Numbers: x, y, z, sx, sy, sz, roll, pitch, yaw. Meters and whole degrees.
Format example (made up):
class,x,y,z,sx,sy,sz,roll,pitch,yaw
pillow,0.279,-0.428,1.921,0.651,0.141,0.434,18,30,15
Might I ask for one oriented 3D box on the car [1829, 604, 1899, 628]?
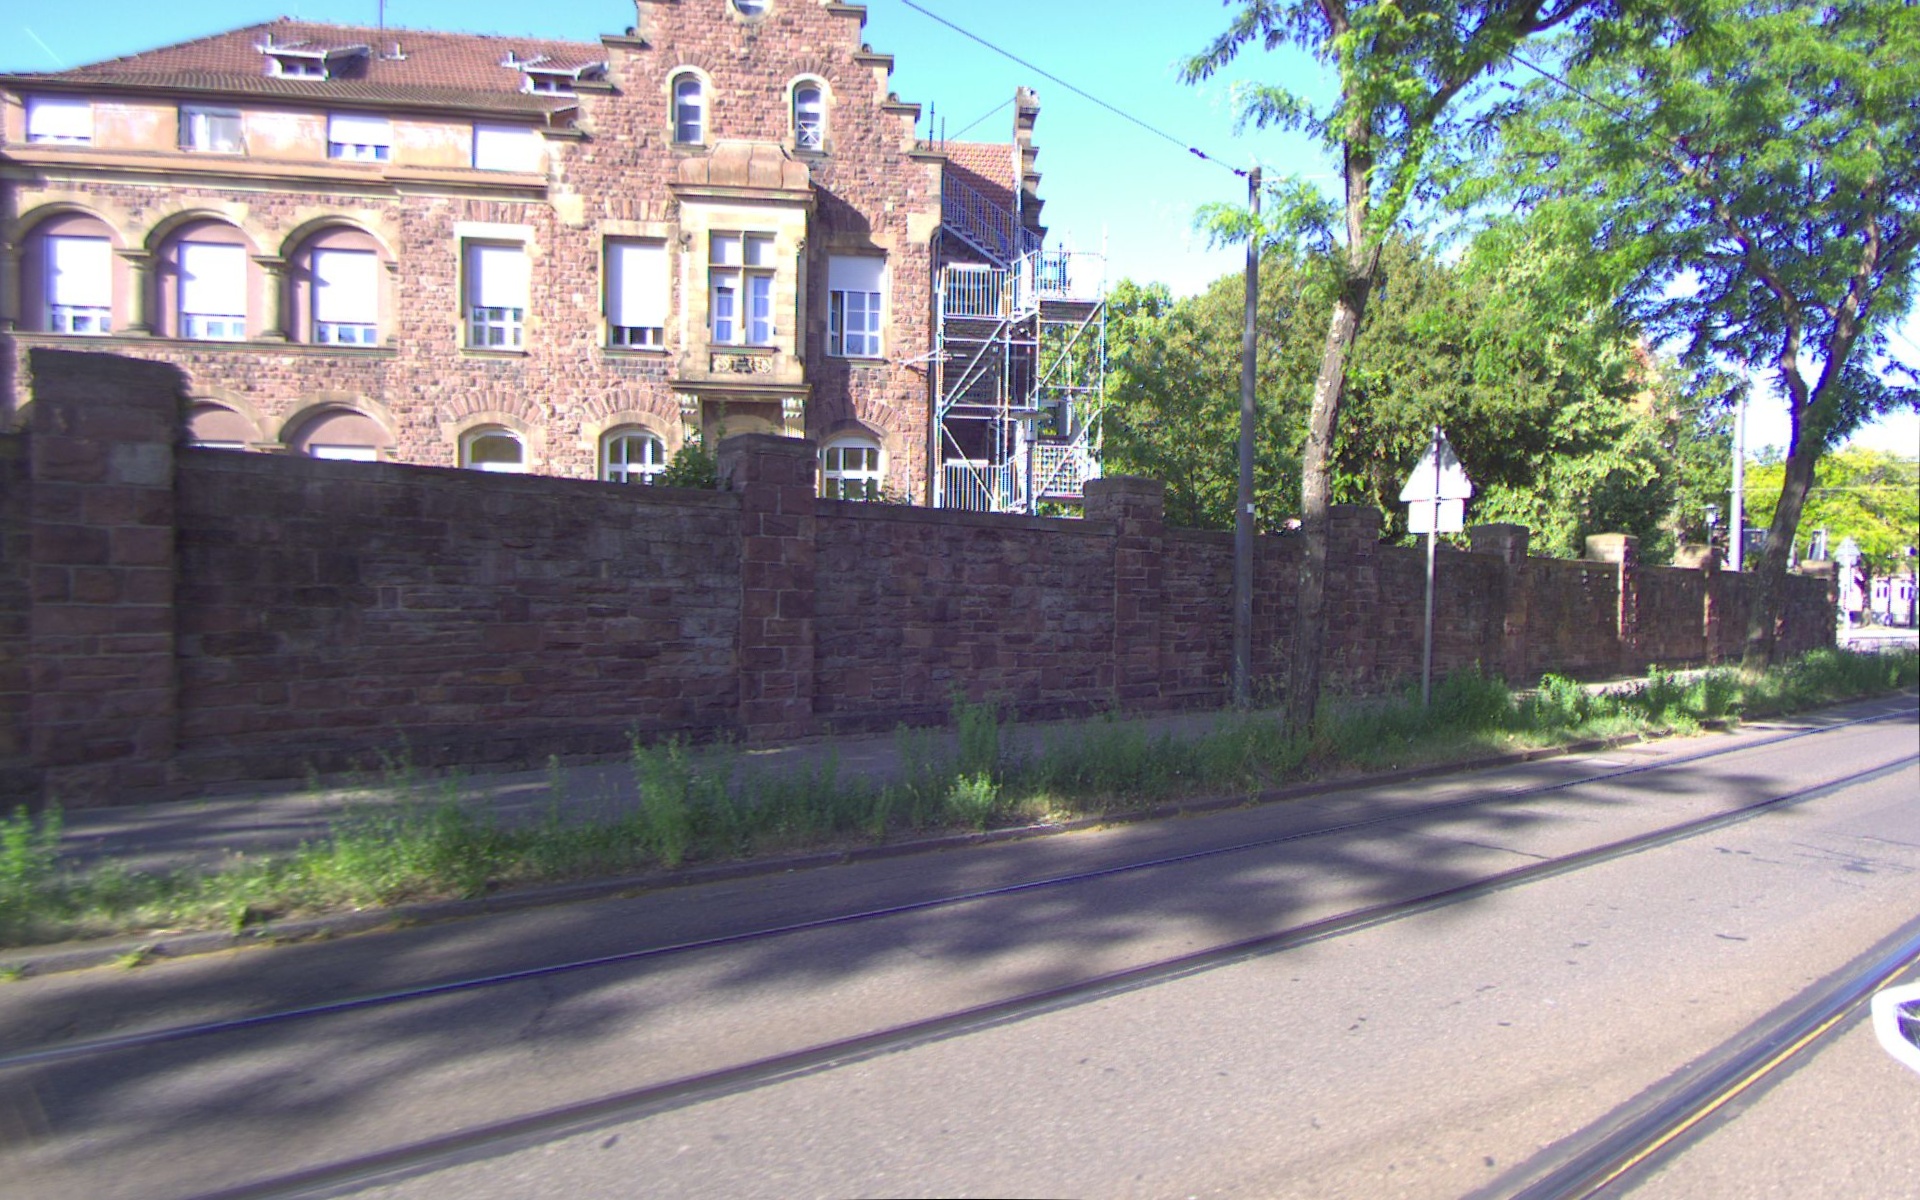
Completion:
class,x,y,z,sx,sy,sz,roll,pitch,yaw
car,74.297,1.330,82.590,1.983,1.814,3.955,1,1,-39
